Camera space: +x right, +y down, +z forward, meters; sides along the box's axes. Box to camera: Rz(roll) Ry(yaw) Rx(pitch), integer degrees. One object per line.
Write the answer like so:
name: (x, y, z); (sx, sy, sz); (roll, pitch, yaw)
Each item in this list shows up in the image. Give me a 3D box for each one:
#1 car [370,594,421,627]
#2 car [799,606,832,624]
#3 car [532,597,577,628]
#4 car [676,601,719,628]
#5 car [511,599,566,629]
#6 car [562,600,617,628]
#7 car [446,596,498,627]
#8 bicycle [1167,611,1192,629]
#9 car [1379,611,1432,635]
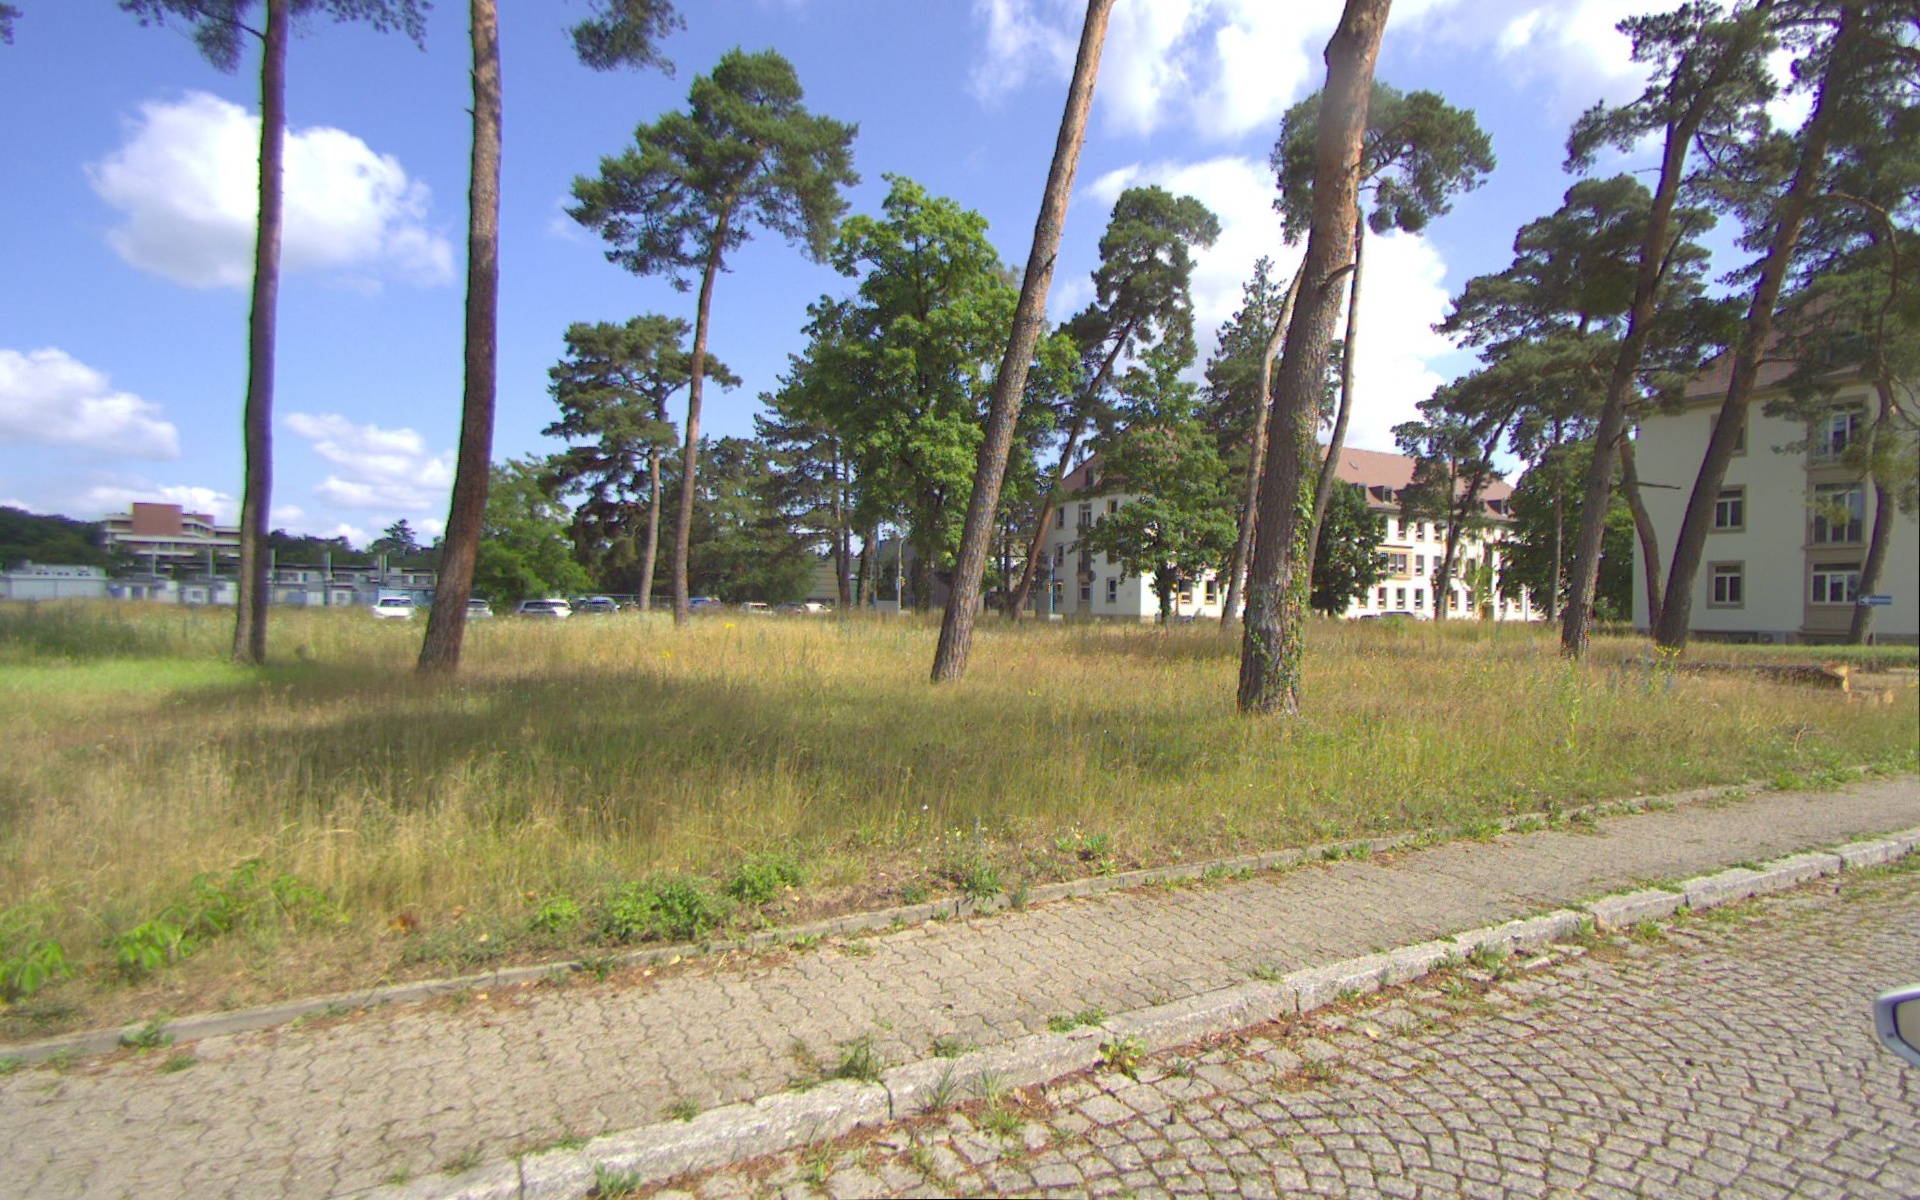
car: (-25.380, 0.472, 45.137); (1.878, 1.367, 4.039); (1, -1, -30)
car: (-17.413, 1.777, 120.749); (3.636, 2.116, 1.722); (1, -1, -20)
car: (-23.614, 0.709, 58.377); (1.878, 1.724, 4.046); (1, -1, -30)
car: (-18.406, 0.992, 70.245); (1.878, 1.803, 4.046); (1, -1, -30)
car: (-20.053, 0.652, 47.718); (1.878, 1.337, 4.046); (1, -1, -30)
car: (-18.088, 0.683, 48.942); (1.878, 1.326, 4.046); (1, -1, -30)
car: (-22.876, 0.535, 46.991); (1.878, 1.356, 4.046); (1, -1, -30)
bicycle: (14.324, 1.287, 65.513); (1.561, 1.115, 0.489); (1, 0, -18)
car: (38.376, 1.994, 86.596); (1.692, 2.018, 4.043); (1, -1, -28)
